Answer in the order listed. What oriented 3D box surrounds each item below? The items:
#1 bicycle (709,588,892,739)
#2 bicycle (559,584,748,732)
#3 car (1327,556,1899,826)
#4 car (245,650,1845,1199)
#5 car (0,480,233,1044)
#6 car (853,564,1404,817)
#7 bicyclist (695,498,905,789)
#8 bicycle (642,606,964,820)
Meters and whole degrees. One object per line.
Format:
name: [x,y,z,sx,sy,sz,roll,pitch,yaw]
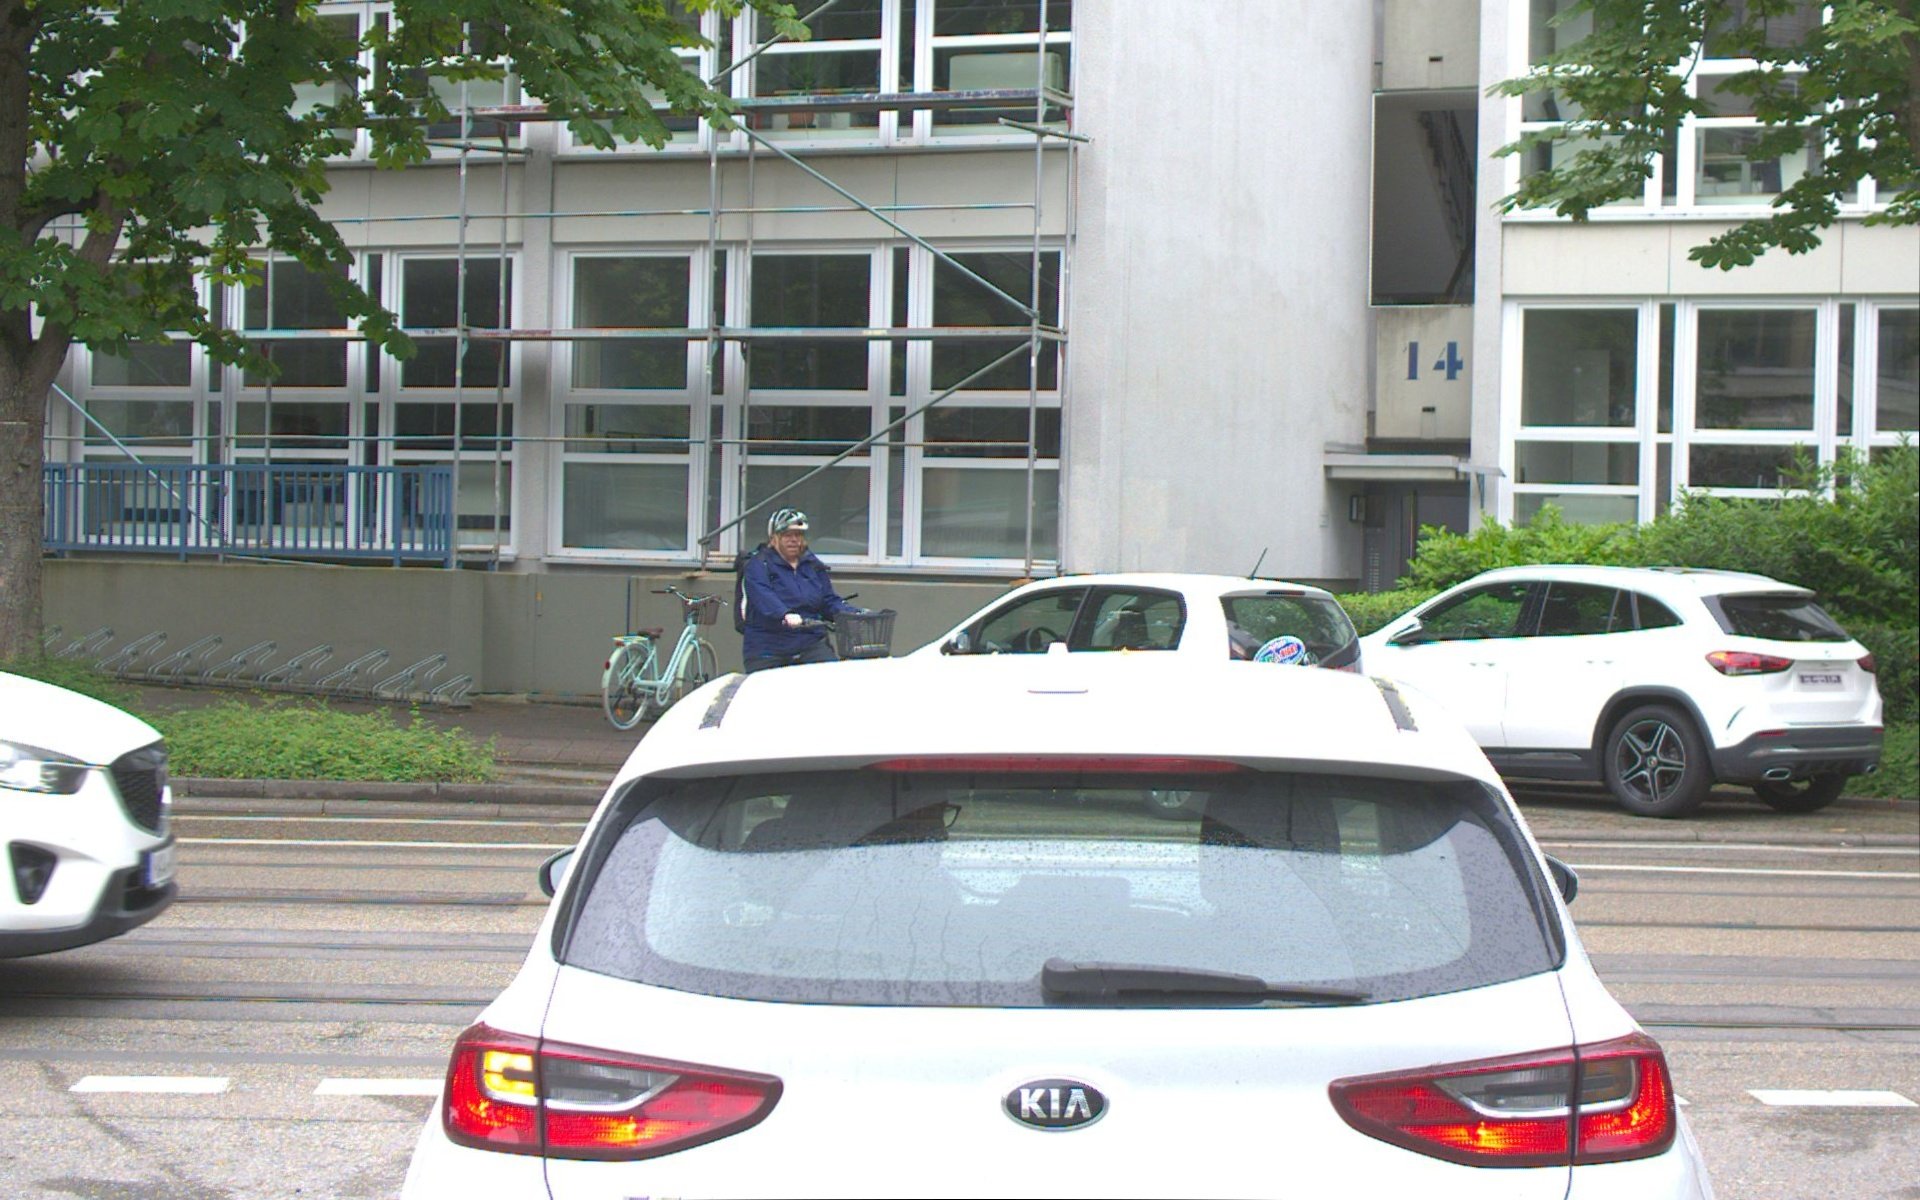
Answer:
bicycle: [-1.275,0.492,28.021,0.645,1.071,2.310,2,3,20]
bicycle: [-2.514,0.457,28.486,0.645,1.071,2.310,2,3,20]
car: [4.238,0.537,22.606,1.552,1.612,3.406,0,1,-44]
car: [0.171,0.820,5.809,1.775,1.428,3.978,1,0,3]
car: [-4.880,0.415,11.318,4.585,1.697,2.000,1,2,-3]
car: [1.033,0.527,22.206,1.552,1.468,3.406,0,1,-44]
bicyclist: [-0.963,0.248,20.626,0.896,1.692,0.832,2,1,45]
bicycle: [-0.961,0.650,20.625,1.914,1.170,0.819,2,1,44]
